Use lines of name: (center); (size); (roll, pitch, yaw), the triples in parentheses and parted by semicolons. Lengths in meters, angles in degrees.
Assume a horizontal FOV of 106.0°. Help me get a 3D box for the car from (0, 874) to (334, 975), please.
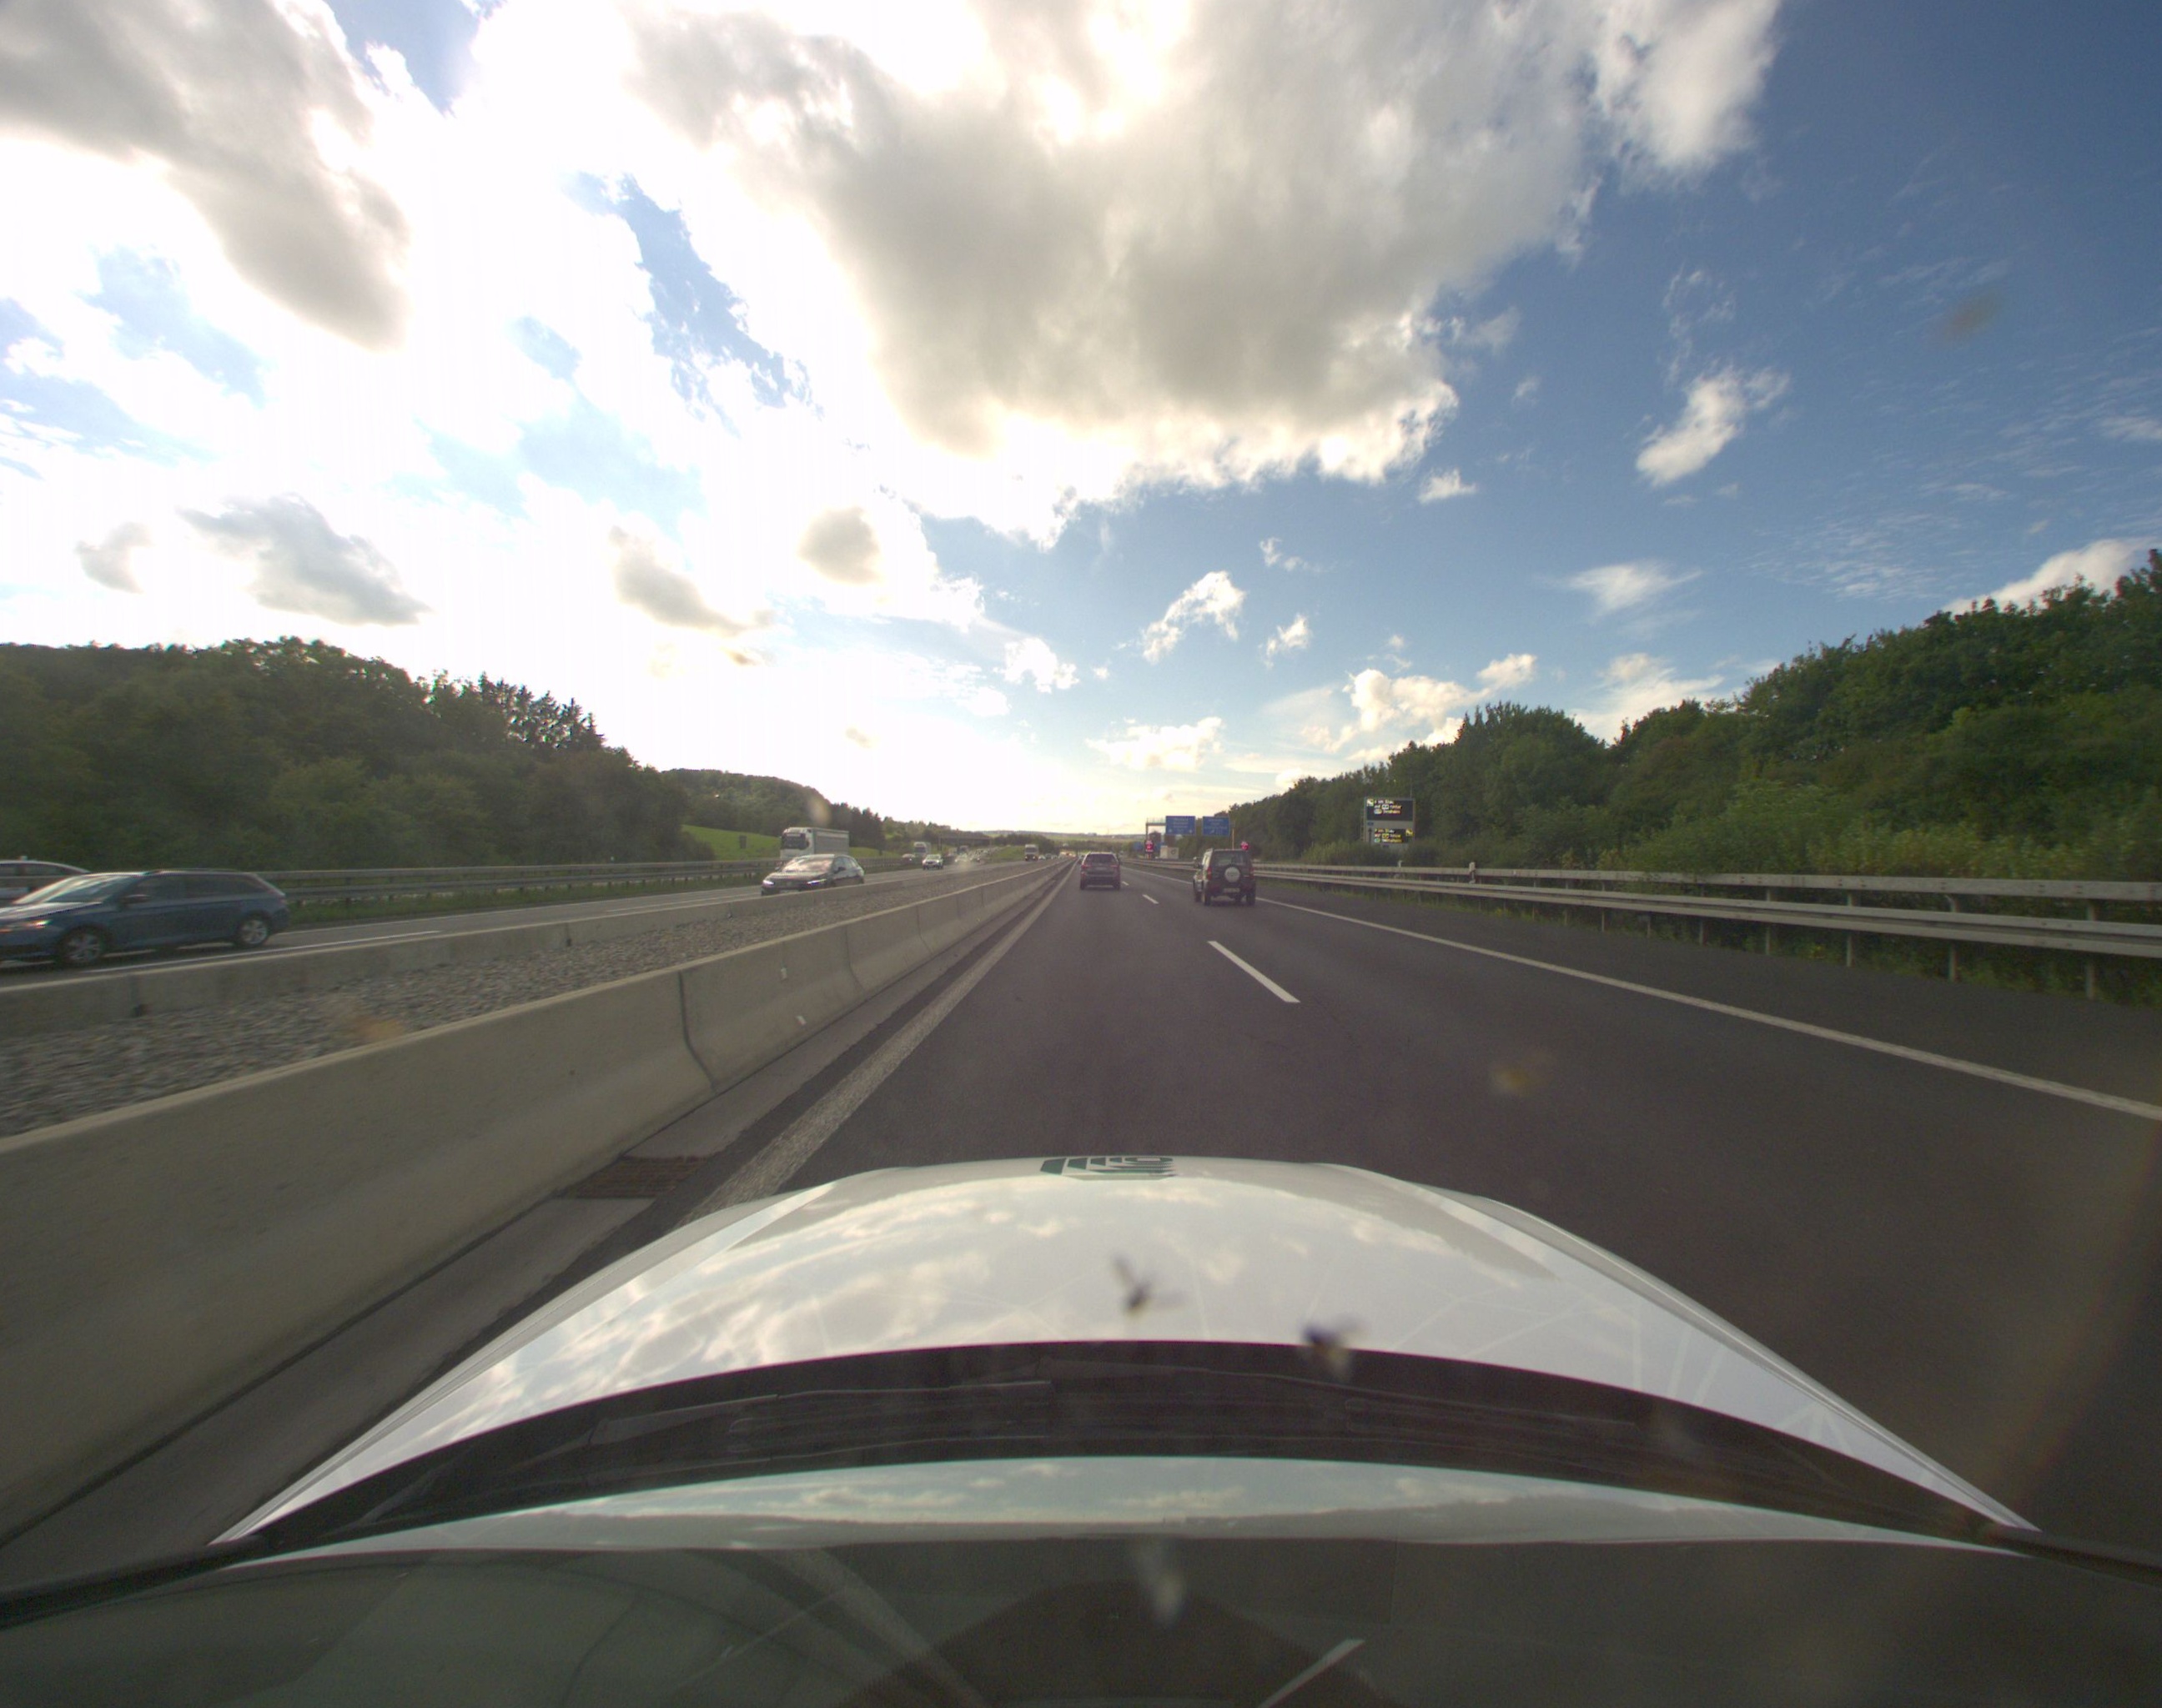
car: (-15.543, 1.043, 13.607); (1.621, 1.293, 4.757); (-1, 0, 2)

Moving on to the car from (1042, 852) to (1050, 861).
car: (-8.130, 0.622, 188.295); (1.816, 2.014, 4.141); (-1, 0, -4)

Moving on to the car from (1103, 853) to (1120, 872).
car: (3.708, 1.040, 99.437); (2.023, 2.151, 4.000); (-1, 0, 1)

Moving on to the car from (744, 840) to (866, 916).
car: (-7.978, 0.642, 24.004); (1.986, 2.014, 4.274); (-1, 0, 2)

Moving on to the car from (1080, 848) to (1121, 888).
car: (0.984, 0.674, 38.806); (1.810, 1.736, 5.189); (-1, -1, 2)

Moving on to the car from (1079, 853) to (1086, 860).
car: (0.409, 0.772, 222.079); (1.988, 1.684, 3.997); (-1, -2, -1)

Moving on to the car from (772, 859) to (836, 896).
car: (-13.912, 1.141, 41.139); (1.719, 1.700, 4.154); (-1, 0, 2)

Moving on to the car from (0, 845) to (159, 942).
car: (-23.336, 0.831, 17.548); (1.986, 2.014, 4.274); (-1, 0, 2)

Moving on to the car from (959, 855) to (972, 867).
car: (-17.786, 1.116, 125.608); (1.604, 1.789, 4.267); (-1, 0, -4)

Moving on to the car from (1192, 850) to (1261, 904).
car: (4.576, 0.684, 26.125); (1.581, 1.597, 4.096); (-1, 0, 1)

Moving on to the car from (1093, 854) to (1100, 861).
car: (4.606, 1.134, 240.483); (1.989, 1.929, 3.995); (-1, -2, -3)

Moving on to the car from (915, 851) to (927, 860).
car: (-34.141, 0.362, 174.037); (1.989, 2.014, 4.267); (-1, 0, -4)

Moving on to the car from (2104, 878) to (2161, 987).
car: (16.528, 1.136, 10.499); (1.776, 1.571, 4.029); (-1, -1, 4)

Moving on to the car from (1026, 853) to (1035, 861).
car: (-12.001, 0.707, 194.530); (1.989, 2.030, 4.267); (-1, 0, -4)

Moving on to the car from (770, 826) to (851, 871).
car: (-27.104, -0.465, 82.740); (3.807, 4.080, 14.817); (-1, 0, -2)

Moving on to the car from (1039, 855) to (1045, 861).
car: (-11.598, 1.183, 242.201); (1.989, 1.890, 4.267); (-1, 0, -4)

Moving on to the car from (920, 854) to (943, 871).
car: (-16.397, 0.906, 89.352); (1.989, 1.791, 4.267); (-1, 0, -3)

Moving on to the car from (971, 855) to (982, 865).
car: (-20.558, 1.158, 160.282); (1.989, 2.014, 4.267); (-1, 0, -4)

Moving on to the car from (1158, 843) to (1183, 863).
car: (20.331, -0.234, 185.416); (4.710, 4.266, 11.409); (-1, 0, 2)
